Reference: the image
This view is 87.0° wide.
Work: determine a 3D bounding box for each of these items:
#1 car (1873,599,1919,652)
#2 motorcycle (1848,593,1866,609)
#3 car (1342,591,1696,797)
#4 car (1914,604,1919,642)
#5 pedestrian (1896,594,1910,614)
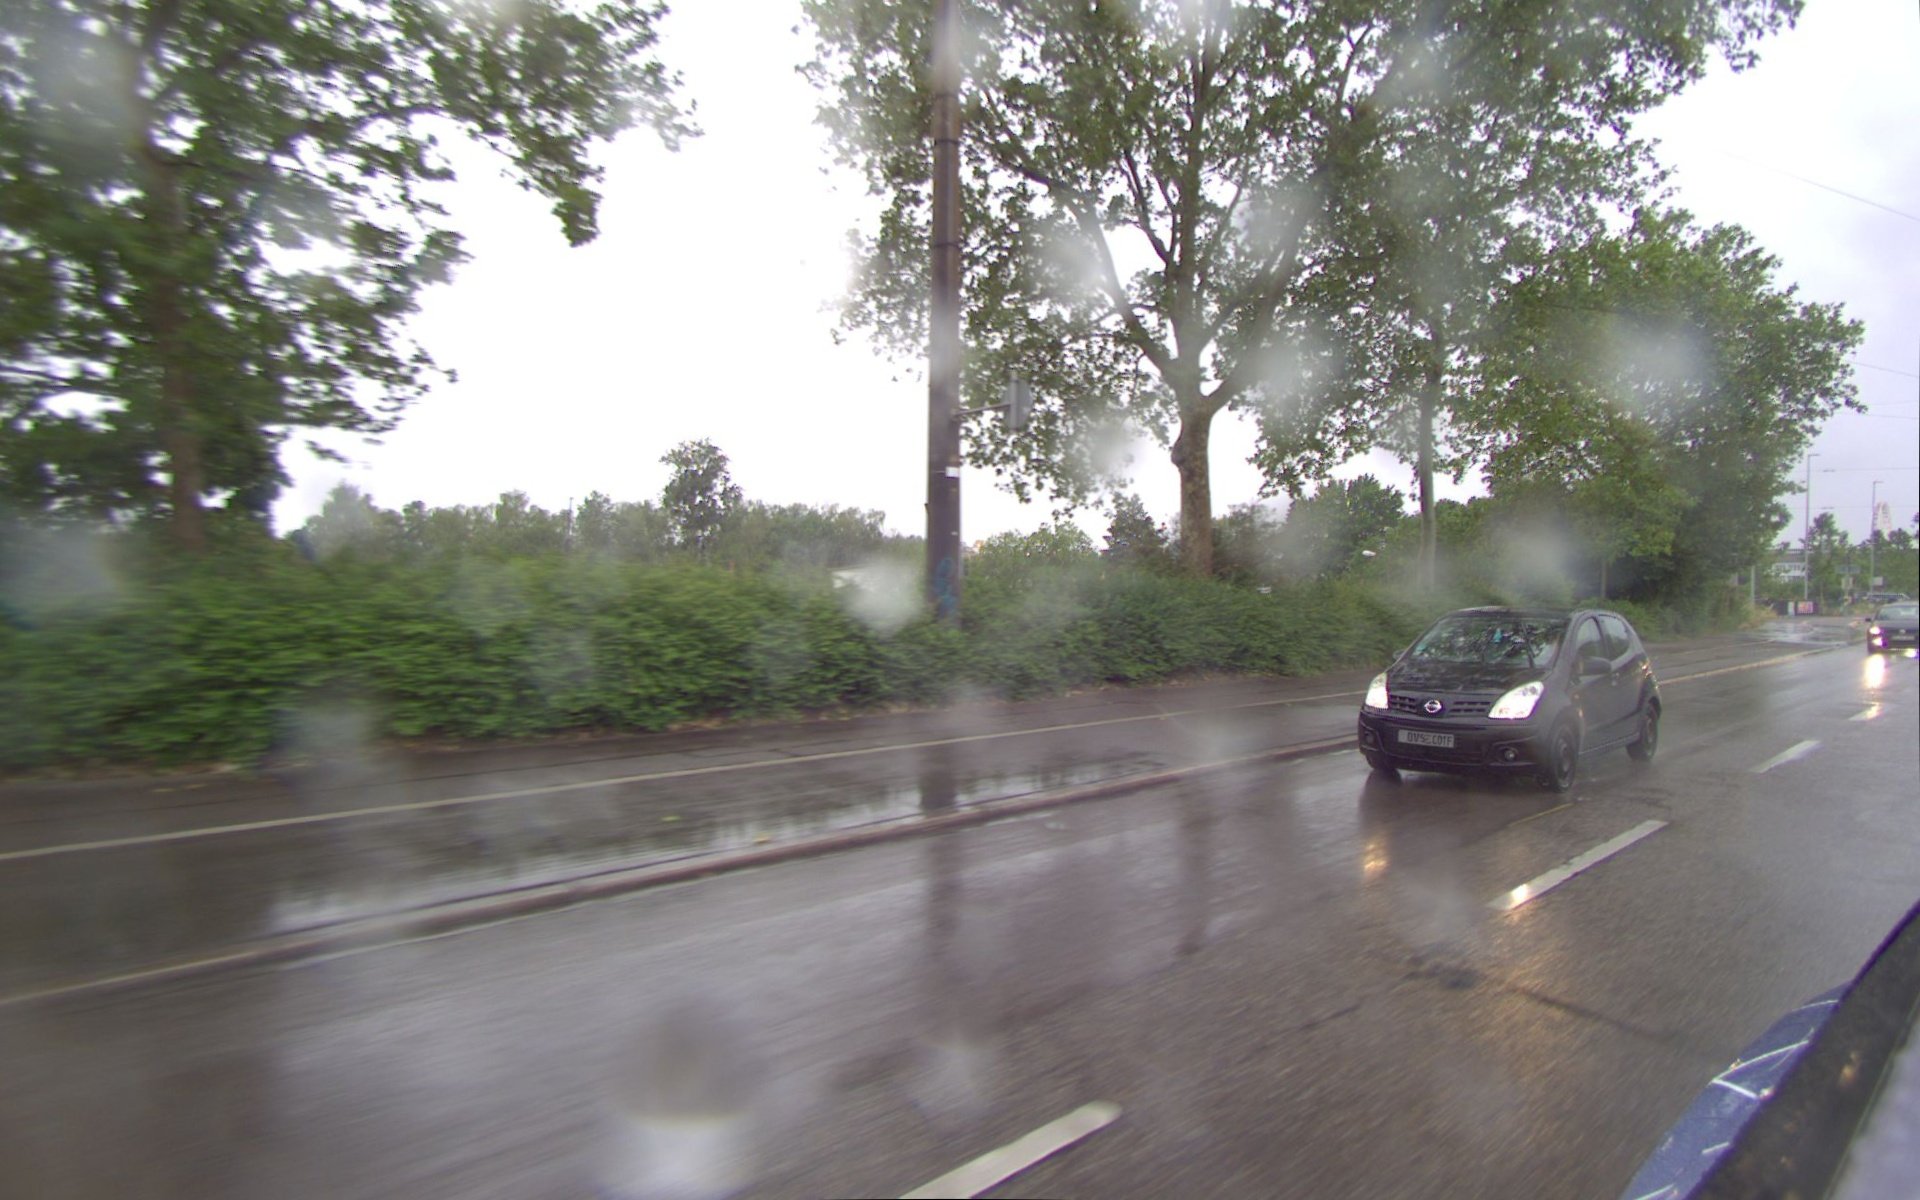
[{"bbox_3d":[28.581,0.745,29.999,3.971,1.504,1.714,1,-1,-40],"label":"car"},{"bbox_3d":[72.862,0.090,82.223,1.418,1.234,0.635,1,1,-28],"label":"motorcycle"},{"bbox_3d":[5.287,0.701,9.328,4.024,1.480,1.773,1,-1,-44],"label":"car"},{"bbox_3d":[40.447,0.943,41.316,3.971,1.544,1.714,1,-1,-40],"label":"car"},{"bbox_3d":[79.772,0.350,85.625,0.607,1.631,0.734,-1,2,-40],"label":"pedestrian"}]
